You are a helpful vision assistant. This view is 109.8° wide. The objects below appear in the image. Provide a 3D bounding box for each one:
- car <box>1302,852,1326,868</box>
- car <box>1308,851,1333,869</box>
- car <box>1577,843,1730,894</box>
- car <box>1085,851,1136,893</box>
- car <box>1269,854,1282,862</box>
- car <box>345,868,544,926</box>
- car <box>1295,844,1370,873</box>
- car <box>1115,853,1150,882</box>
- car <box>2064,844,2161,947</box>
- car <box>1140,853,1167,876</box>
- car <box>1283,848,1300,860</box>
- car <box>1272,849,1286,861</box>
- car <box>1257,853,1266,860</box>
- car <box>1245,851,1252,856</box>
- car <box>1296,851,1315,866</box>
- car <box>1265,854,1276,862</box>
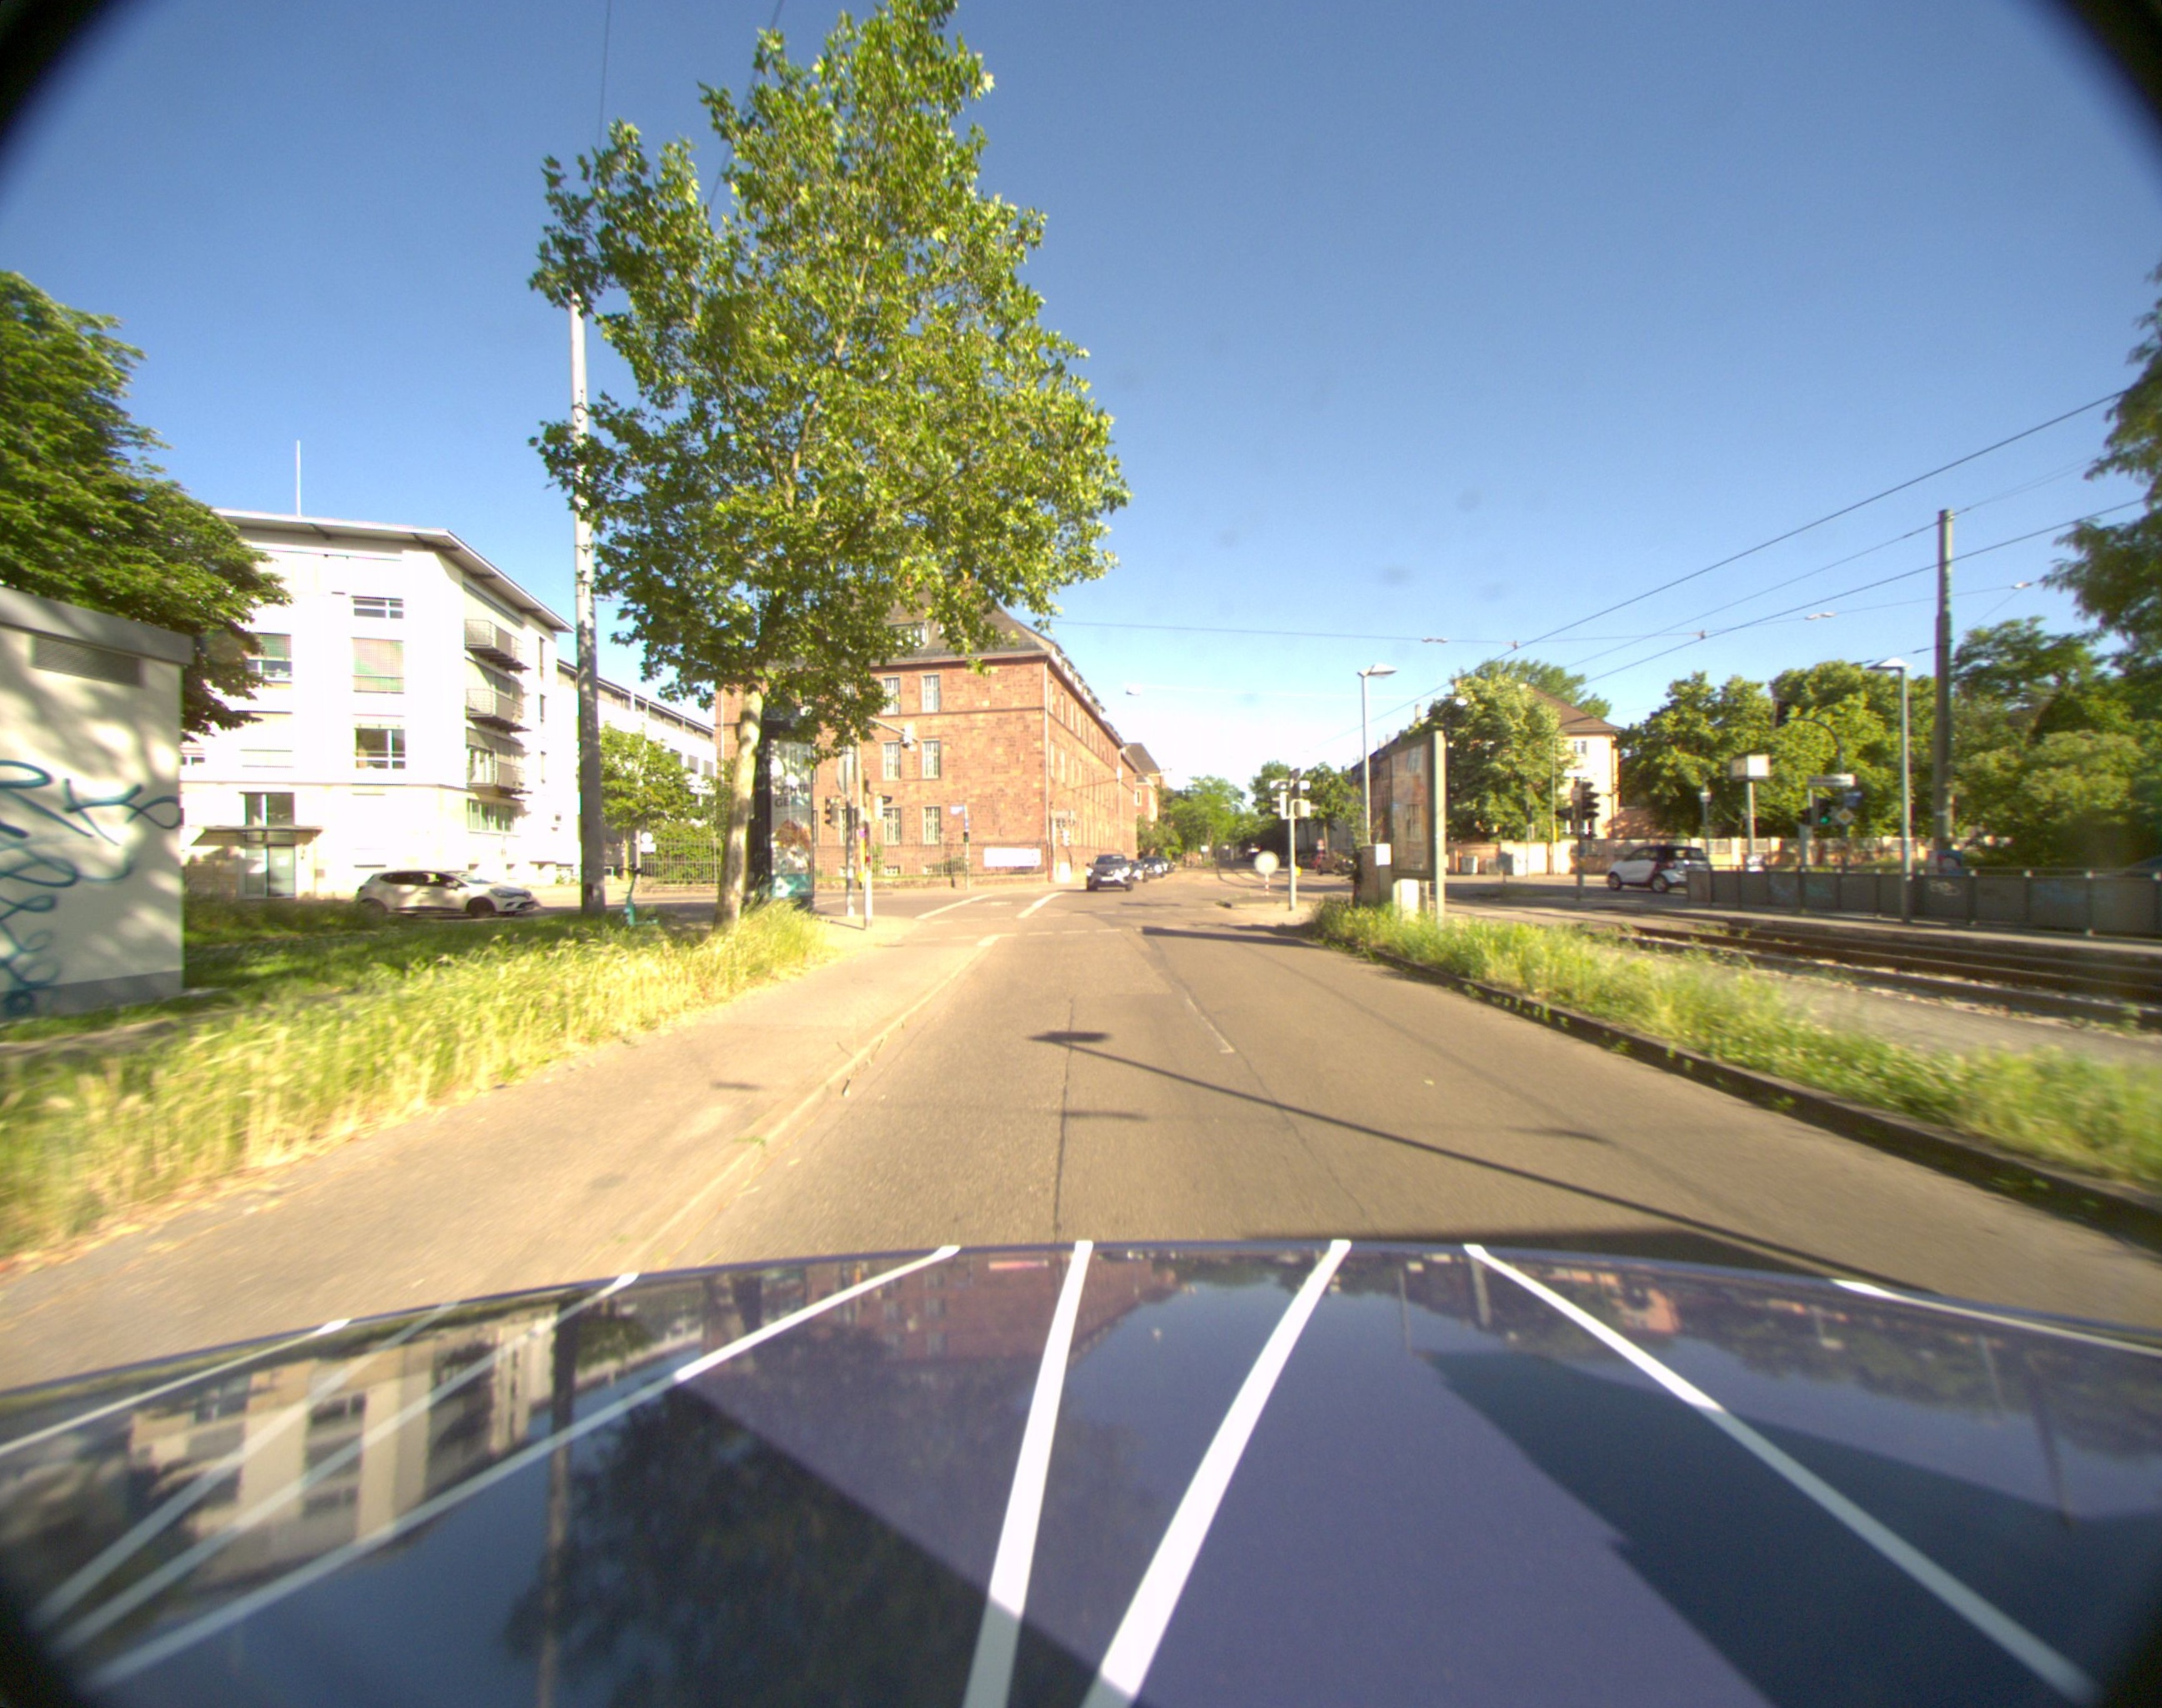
[{"bbox_3d":[25.077,0.638,82.025,1.815,1.648,3.822,0,0,6],"label":"car"},{"bbox_3d":[24.239,0.611,77.039,1.815,1.696,3.376,-1,1,6],"label":"car"},{"bbox_3d":[18.965,0.453,25.438,1.926,1.558,3.998,0,0,-5],"label":"car"},{"bbox_3d":[1.307,0.714,31.764,1.794,1.595,3.801,-2,0,7],"label":"car"},{"bbox_3d":[34.828,0.734,136.144,1.815,1.411,3.633,0,0,8],"label":"car"},{"bbox_3d":[-18.173,1.190,21.876,4.000,1.459,1.798,-1,0,-9],"label":"car"},{"bbox_3d":[16.329,0.247,49.633,2.002,1.757,5.022,-1,2,-19],"label":"car"},{"bbox_3d":[3.189,0.786,46.108,1.794,1.595,3.802,-2,0,8],"label":"car"},{"bbox_3d":[16.273,0.582,9.874,1.809,1.458,3.999,-1,0,0],"label":"car"},{"bbox_3d":[5.577,0.796,58.052,1.794,1.638,4.086,-2,0,8],"label":"car"},{"bbox_3d":[29.409,0.038,106.113,1.815,1.589,3.633,0,0,8],"label":"car"},{"bbox_3d":[33.105,0.179,126.931,1.815,1.929,3.633,0,0,8],"label":"car"},{"bbox_3d":[43.751,0.612,184.627,1.815,1.768,3.633,0,0,8],"label":"car"},{"bbox_3d":[52.967,-0.229,240.147,1.815,1.411,3.632,-1,0,8],"label":"car"},{"bbox_3d":[26.603,0.516,90.196,1.814,1.648,3.880,0,0,10],"label":"car"},{"bbox_3d":[36.165,0.757,144.980,1.815,1.411,3.633,0,0,8],"label":"car"}]
